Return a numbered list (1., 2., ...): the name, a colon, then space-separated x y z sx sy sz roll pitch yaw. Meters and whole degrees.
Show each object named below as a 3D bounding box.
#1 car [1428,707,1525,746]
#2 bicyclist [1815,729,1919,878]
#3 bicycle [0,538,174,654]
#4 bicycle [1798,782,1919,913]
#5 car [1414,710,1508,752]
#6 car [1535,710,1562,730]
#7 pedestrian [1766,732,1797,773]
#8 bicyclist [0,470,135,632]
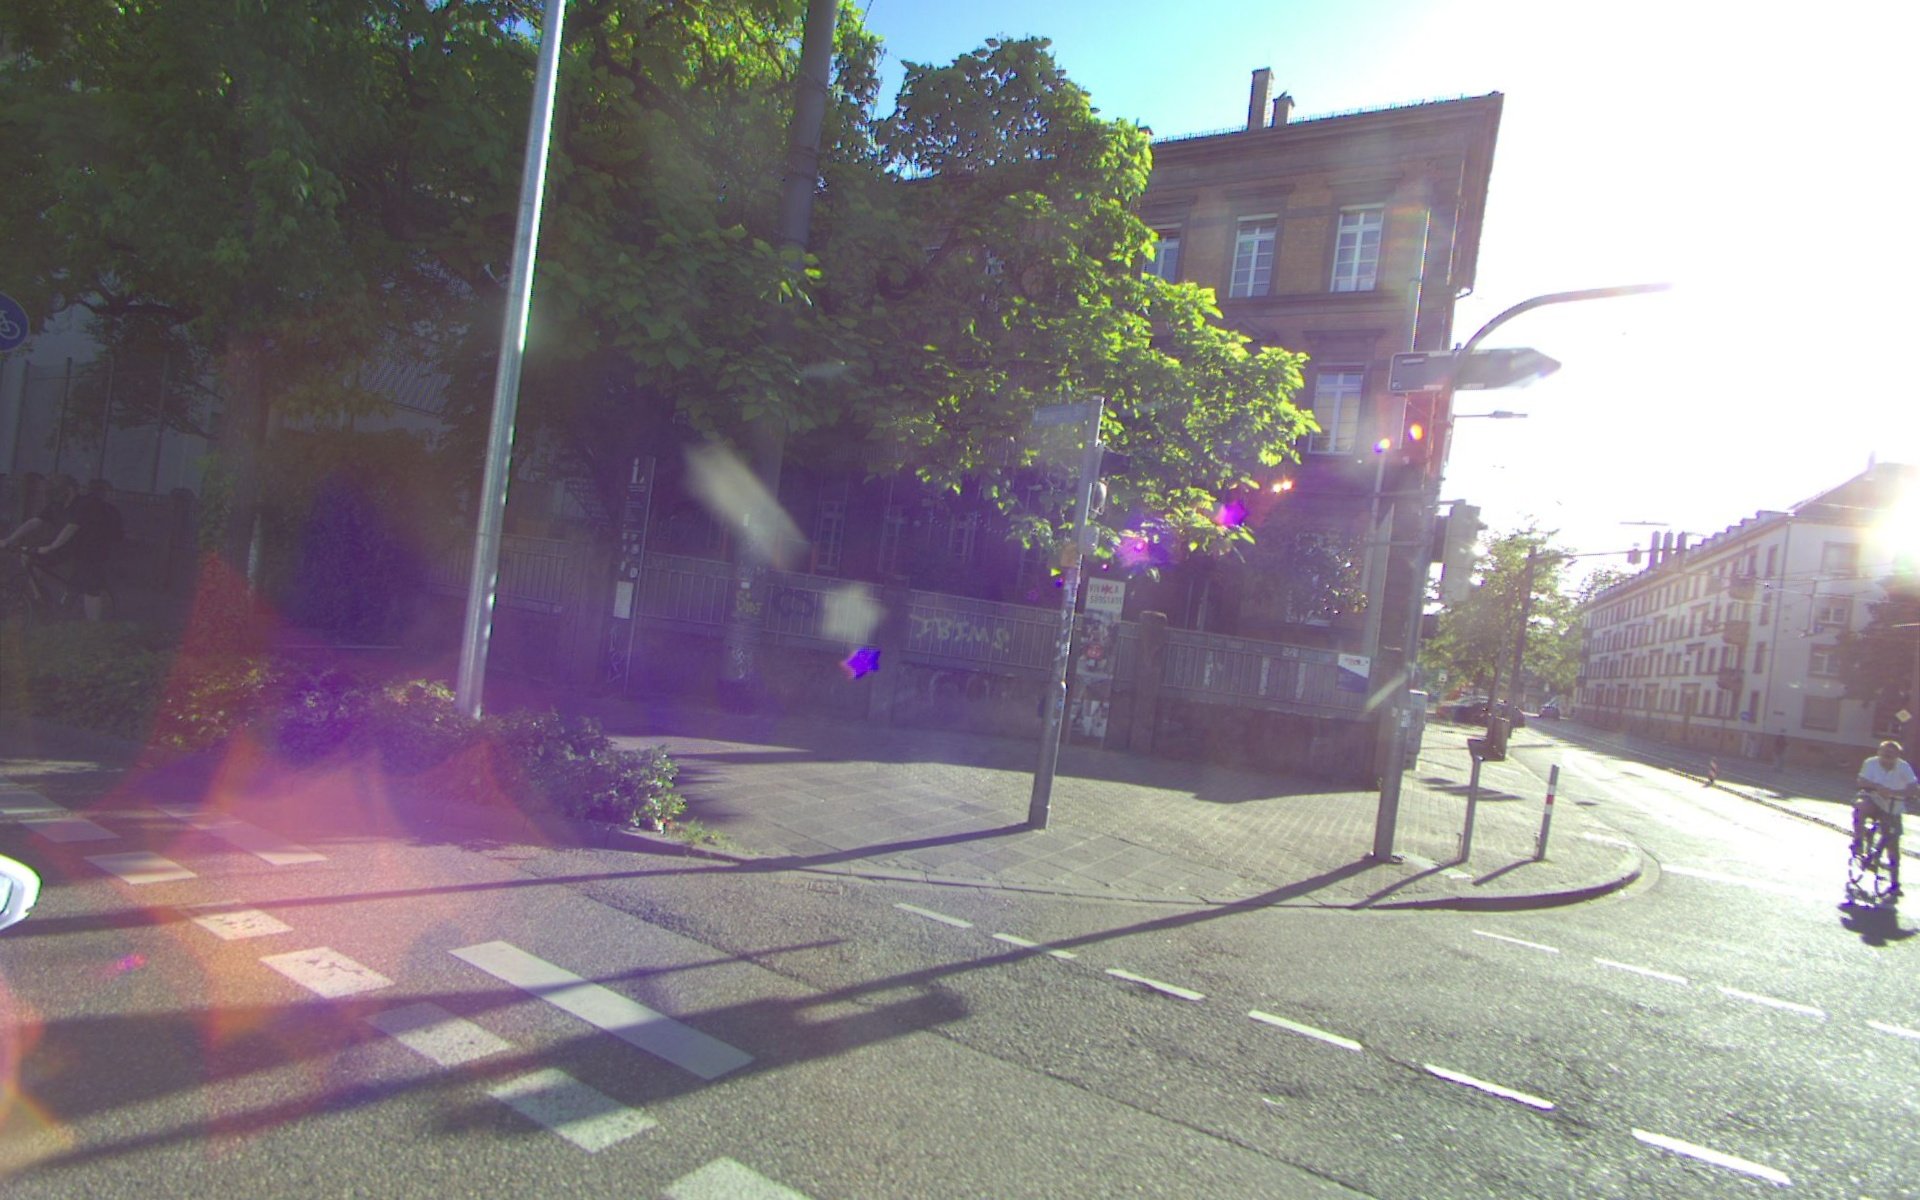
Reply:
1. car: 30.514 7.451 59.536 4.650 1.467 1.909 8 -1 4
2. bicyclist: 10.870 2.370 11.712 0.993 1.527 0.928 8 0 21
3. bicycle: -9.374 -0.030 10.426 0.629 1.083 1.953 7 -1 8
4. bicycle: 10.740 2.841 11.601 0.830 1.132 2.332 8 -1 21
5. car: 31.042 8.088 62.454 4.650 1.737 2.001 8 -1 4
6. car: 66.257 13.491 113.338 1.964 1.868 4.005 8 -4 23
7. pedestrian: 38.909 7.226 47.658 0.684 1.790 0.989 8 0 23
8. bicyclist: -9.310 -0.487 10.431 0.737 1.527 0.702 8 0 8
